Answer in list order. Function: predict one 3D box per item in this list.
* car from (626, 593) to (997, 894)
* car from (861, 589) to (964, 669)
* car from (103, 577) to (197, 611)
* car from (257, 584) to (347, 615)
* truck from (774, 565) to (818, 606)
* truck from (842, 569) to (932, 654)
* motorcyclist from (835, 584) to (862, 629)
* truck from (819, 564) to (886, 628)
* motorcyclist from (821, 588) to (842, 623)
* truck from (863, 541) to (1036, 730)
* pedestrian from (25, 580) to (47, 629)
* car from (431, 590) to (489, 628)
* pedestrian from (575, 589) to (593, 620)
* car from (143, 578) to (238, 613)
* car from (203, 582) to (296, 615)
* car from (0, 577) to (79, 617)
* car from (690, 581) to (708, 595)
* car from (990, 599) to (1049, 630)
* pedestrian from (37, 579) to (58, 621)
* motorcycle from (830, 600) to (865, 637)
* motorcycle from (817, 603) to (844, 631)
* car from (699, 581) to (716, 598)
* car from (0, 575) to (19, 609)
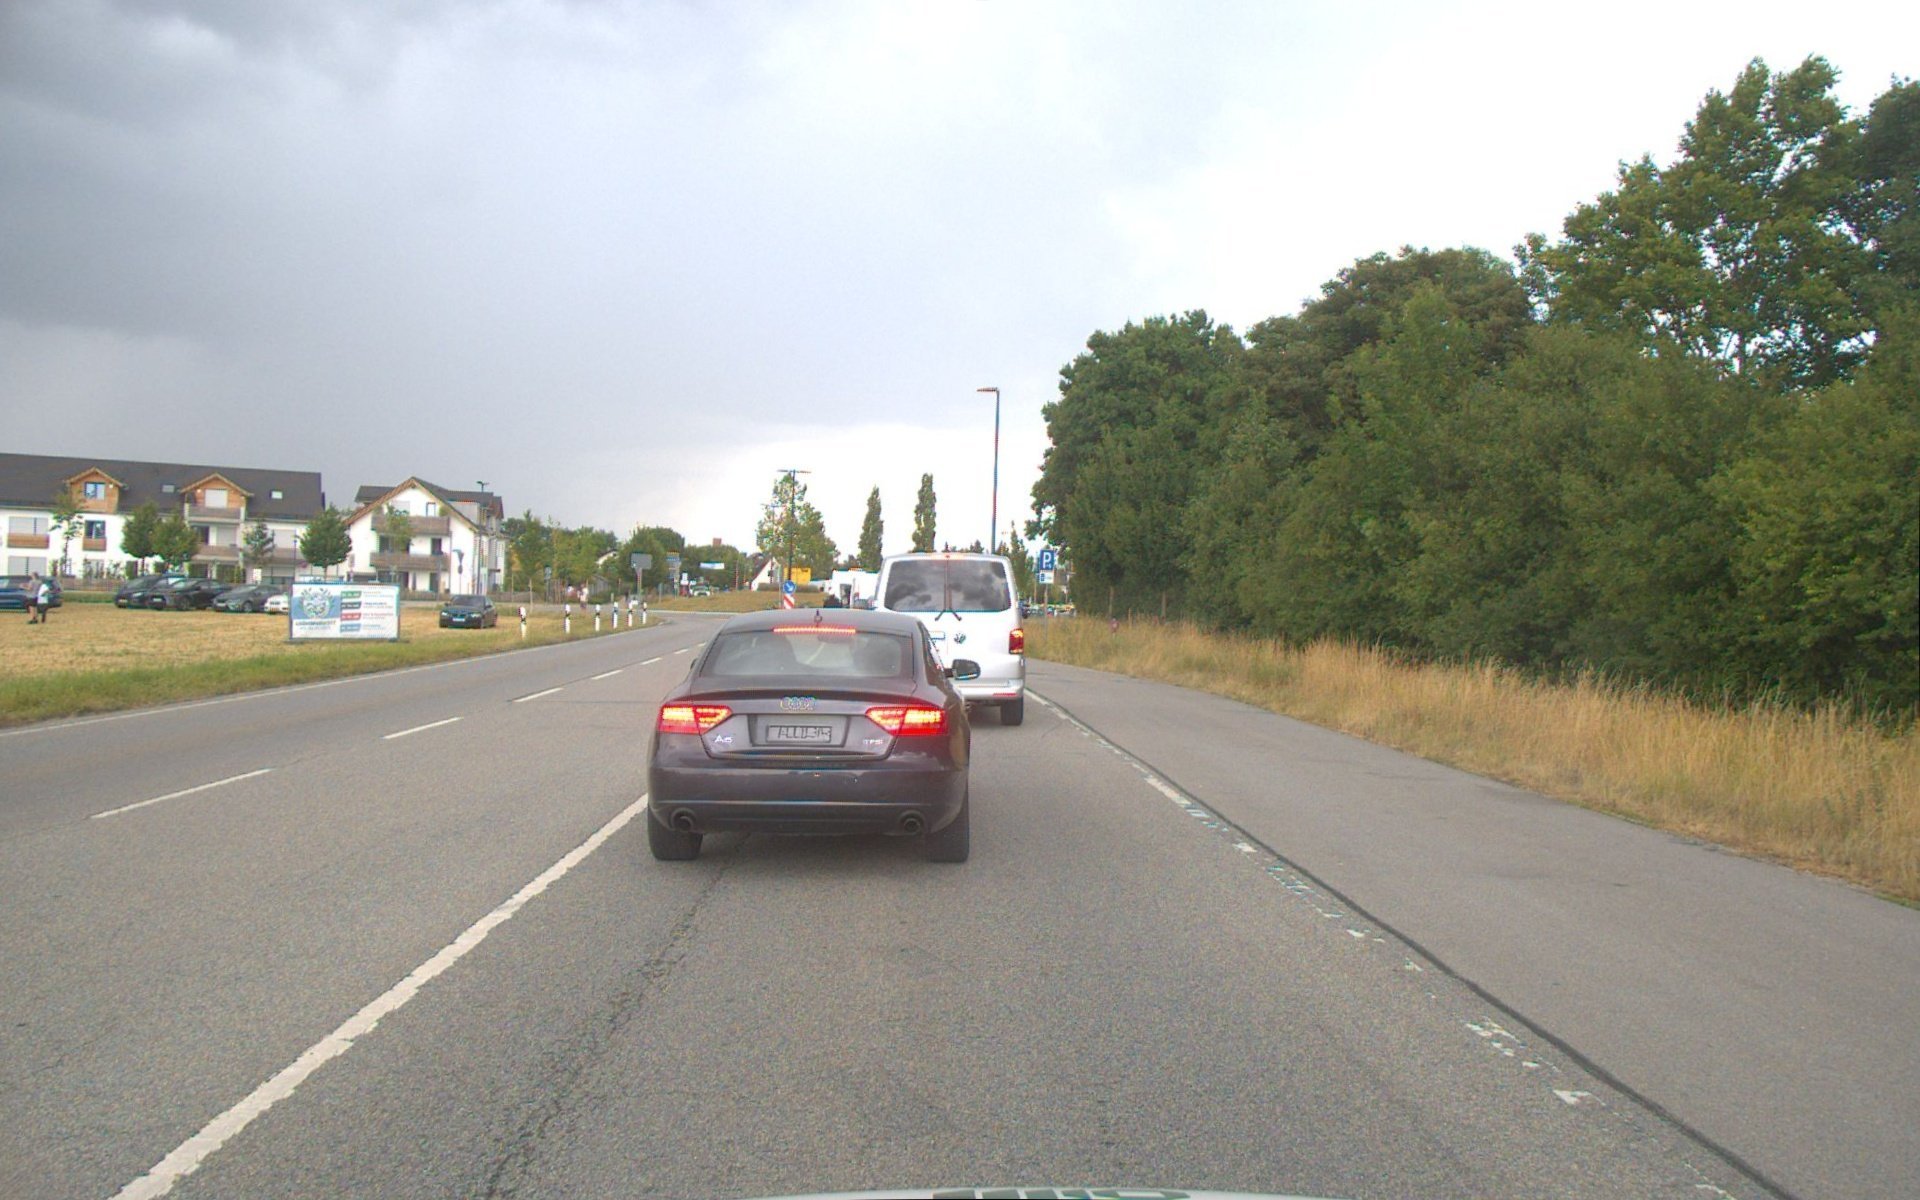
[{"bbox_3d":[-0.777,0.710,10.365,1.837,1.479,4.176,1,0,-1],"label":"car"},{"bbox_3d":[-0.991,0.561,33.906,1.953,1.511,3.998,1,0,-2],"label":"car"},{"bbox_3d":[-41.343,-0.308,84.505,1.951,1.657,4.214,1,0,17],"label":"car"},{"bbox_3d":[-32.401,-0.021,81.576,1.951,1.471,4.214,1,0,17],"label":"car"},{"bbox_3d":[-15.646,-1.355,156.977,3.510,3.640,9.936,2,0,-9],"label":"truck"},{"bbox_3d":[-1.852,0.287,43.182,2.149,2.049,5.083,1,0,-1],"label":"truck"},{"bbox_3d":[-3.551,0.206,52.541,0.756,1.407,0.820,2,0,0],"label":"motorcyclist"},{"bbox_3d":[-5.093,-0.175,77.469,2.577,2.785,5.856,2,0,-8],"label":"truck"},{"bbox_3d":[-5.143,0.220,66.153,0.769,1.380,0.853,1,0,-1],"label":"motorcyclist"},{"bbox_3d":[-0.161,0.380,20.551,1.865,2.033,4.627,1,0,-1],"label":"truck"},{"bbox_3d":[-34.724,0.165,62.160,0.539,1.817,0.676,1,0,-13],"label":"pedestrian"},{"bbox_3d":[-20.817,0.359,69.046,1.959,1.467,3.988,1,1,-12],"label":"car"},{"bbox_3d":[-19.513,0.221,85.819,0.691,1.613,0.653,1,0,43],"label":"pedestrian"},{"bbox_3d":[-38.226,-0.209,82.261,1.951,1.657,4.214,1,0,17],"label":"car"},{"bbox_3d":[-35.120,-0.060,81.903,1.951,1.562,4.214,1,0,17],"label":"car"},{"bbox_3d":[-42.439,-0.170,74.451,4.649,1.727,1.987,1,0,-22],"label":"car"},{"bbox_3d":[-32.641,-1.526,206.603,1.955,1.670,3.995,2,0,-6],"label":"car"},{"bbox_3d":[4.343,1.052,120.826,3.904,2.049,2.001,2,0,19],"label":"car"},{"bbox_3d":[-34.893,-0.017,63.221,0.581,1.582,0.622,1,0,-20],"label":"pedestrian"},{"bbox_3d":[-3.569,0.581,52.642,0.901,1.113,2.188,2,0,0],"label":"motorcycle"},{"bbox_3d":[-5.153,0.668,65.987,0.925,1.037,2.283,1,0,-1],"label":"motorcycle"},{"bbox_3d":[-30.157,-1.256,197.634,1.956,2.049,3.992,2,0,-9],"label":"car"},{"bbox_3d":[-51.464,-0.477,85.519,4.561,1.727,1.987,1,0,-22],"label":"car"}]
